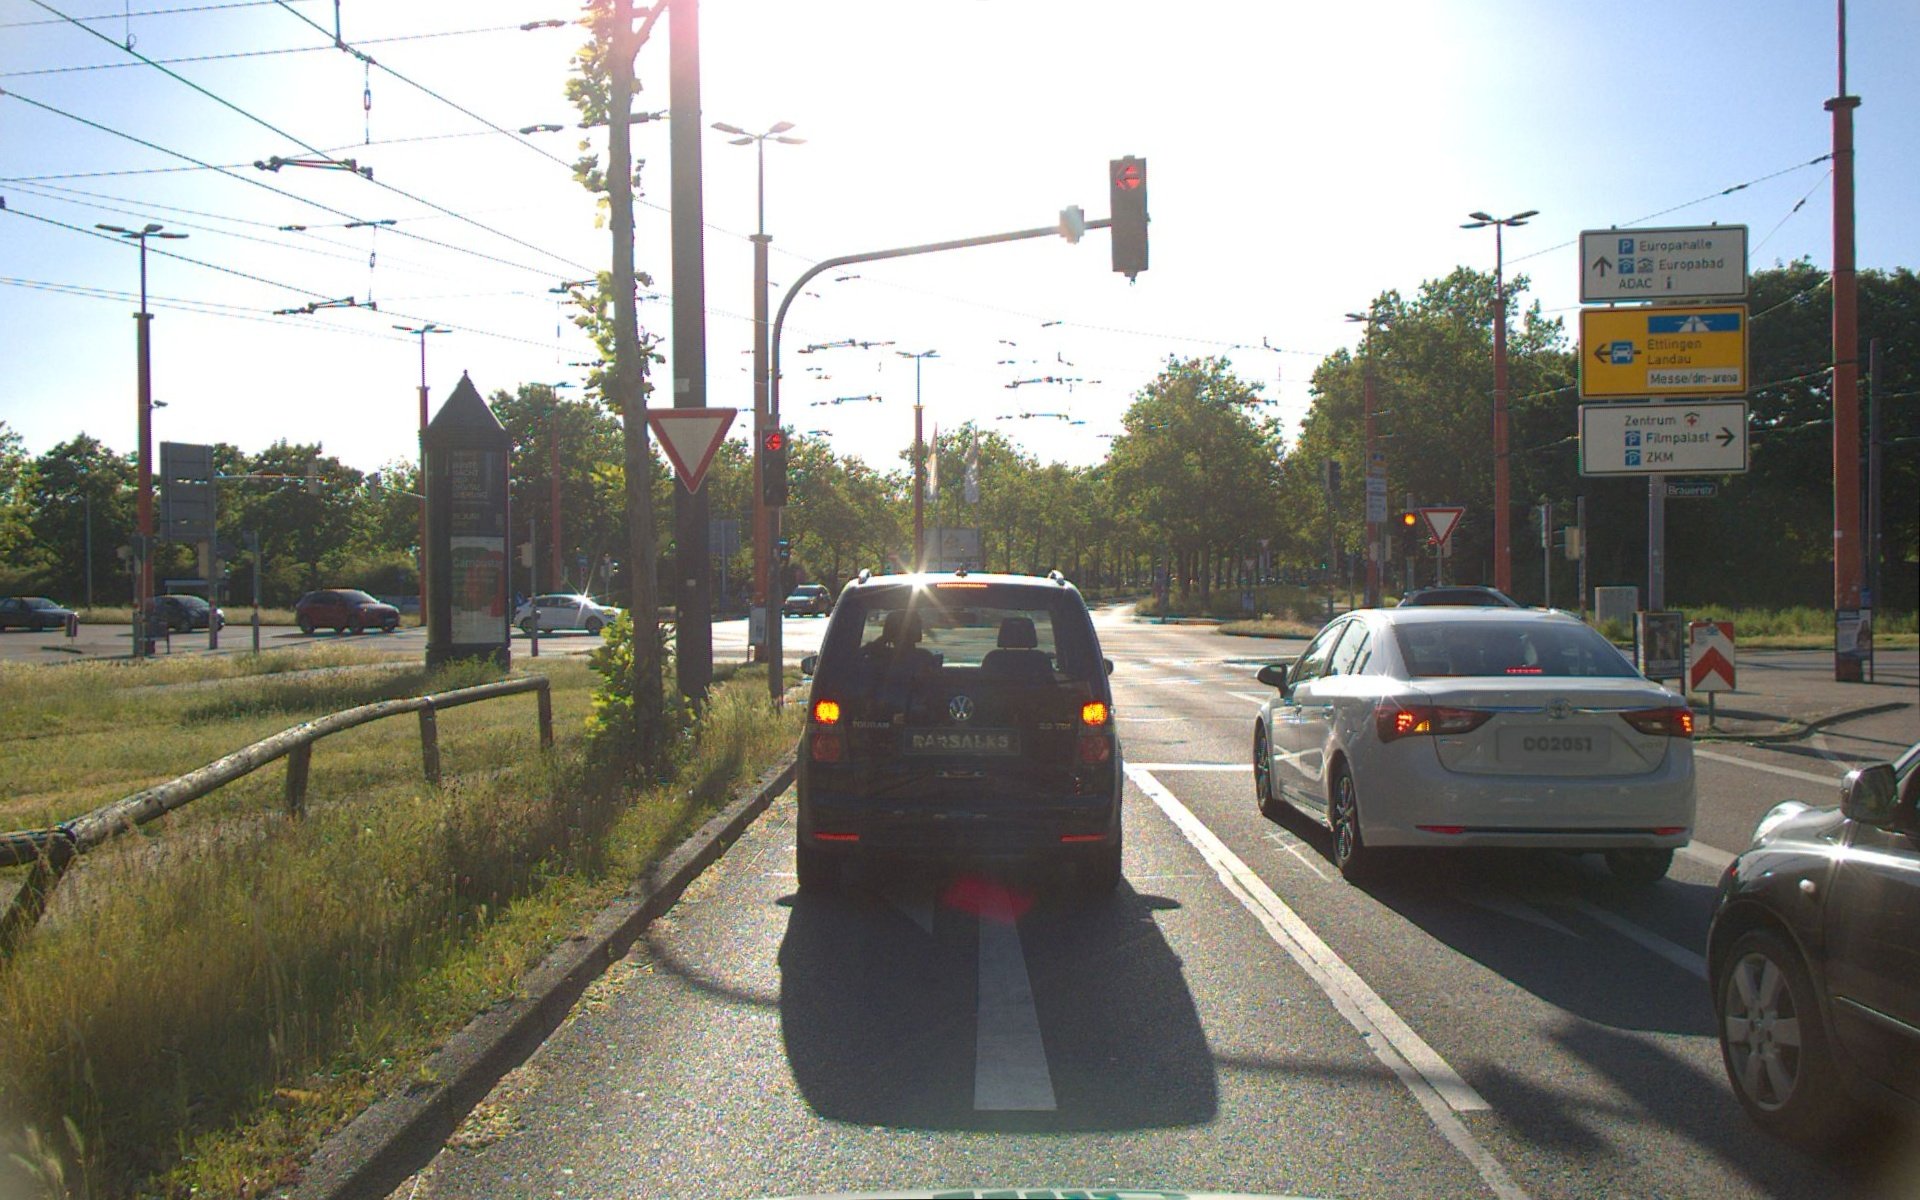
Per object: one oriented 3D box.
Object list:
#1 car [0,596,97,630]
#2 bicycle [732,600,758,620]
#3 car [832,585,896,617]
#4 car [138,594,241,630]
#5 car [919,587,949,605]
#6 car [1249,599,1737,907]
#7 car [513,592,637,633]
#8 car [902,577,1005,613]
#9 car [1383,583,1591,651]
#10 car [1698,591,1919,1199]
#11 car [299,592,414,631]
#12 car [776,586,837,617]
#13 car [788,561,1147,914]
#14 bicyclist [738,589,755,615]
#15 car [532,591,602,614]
[{"bbox_3d":[-41.034,0.569,74.328,4.143,1.489,1.913,0,0,26],"label":"car"},{"bbox_3d":[-12.224,0.565,94.215,0.719,1.109,1.962,0,0,18],"label":"bicycle"},{"bbox_3d":[-5.274,0.024,91.452,1.951,1.714,4.831,0,0,17],"label":"car"},{"bbox_3d":[-32.516,0.479,69.800,3.964,1.489,1.912,0,0,27],"label":"car"},{"bbox_3d":[-2.464,-0.368,157.997,1.951,1.714,4.833,0,0,11],"label":"car"},{"bbox_3d":[2.950,0.741,10.103,1.679,1.480,4.144,0,0,0],"label":"car"},{"bbox_3d":[-14.402,0.447,61.956,4.119,1.489,1.916,0,0,12],"label":"car"},{"bbox_3d":[-0.268,-0.215,71.466,4.172,1.489,1.892,0,0,-34],"label":"car"},{"bbox_3d":[13.202,0.399,41.488,4.691,1.626,1.911,0,0,30],"label":"car"},{"bbox_3d":[3.129,0.744,3.504,1.525,1.532,3.515,0,0,-1],"label":"car"},{"bbox_3d":[-23.787,0.431,65.179,4.275,1.489,1.912,0,0,27],"label":"car"},{"bbox_3d":[-8.735,0.074,94.310,1.951,1.714,4.832,0,0,14],"label":"car"},{"bbox_3d":[0.009,0.644,9.859,1.702,1.670,3.999,0,0,-1],"label":"car"},{"bbox_3d":[-12.193,0.090,94.435,0.678,1.483,0.875,0,0,17],"label":"bicyclist"},{"bbox_3d":[-22.737,0.140,95.640,3.753,1.333,1.651,0,0,-24],"label":"car"}]
